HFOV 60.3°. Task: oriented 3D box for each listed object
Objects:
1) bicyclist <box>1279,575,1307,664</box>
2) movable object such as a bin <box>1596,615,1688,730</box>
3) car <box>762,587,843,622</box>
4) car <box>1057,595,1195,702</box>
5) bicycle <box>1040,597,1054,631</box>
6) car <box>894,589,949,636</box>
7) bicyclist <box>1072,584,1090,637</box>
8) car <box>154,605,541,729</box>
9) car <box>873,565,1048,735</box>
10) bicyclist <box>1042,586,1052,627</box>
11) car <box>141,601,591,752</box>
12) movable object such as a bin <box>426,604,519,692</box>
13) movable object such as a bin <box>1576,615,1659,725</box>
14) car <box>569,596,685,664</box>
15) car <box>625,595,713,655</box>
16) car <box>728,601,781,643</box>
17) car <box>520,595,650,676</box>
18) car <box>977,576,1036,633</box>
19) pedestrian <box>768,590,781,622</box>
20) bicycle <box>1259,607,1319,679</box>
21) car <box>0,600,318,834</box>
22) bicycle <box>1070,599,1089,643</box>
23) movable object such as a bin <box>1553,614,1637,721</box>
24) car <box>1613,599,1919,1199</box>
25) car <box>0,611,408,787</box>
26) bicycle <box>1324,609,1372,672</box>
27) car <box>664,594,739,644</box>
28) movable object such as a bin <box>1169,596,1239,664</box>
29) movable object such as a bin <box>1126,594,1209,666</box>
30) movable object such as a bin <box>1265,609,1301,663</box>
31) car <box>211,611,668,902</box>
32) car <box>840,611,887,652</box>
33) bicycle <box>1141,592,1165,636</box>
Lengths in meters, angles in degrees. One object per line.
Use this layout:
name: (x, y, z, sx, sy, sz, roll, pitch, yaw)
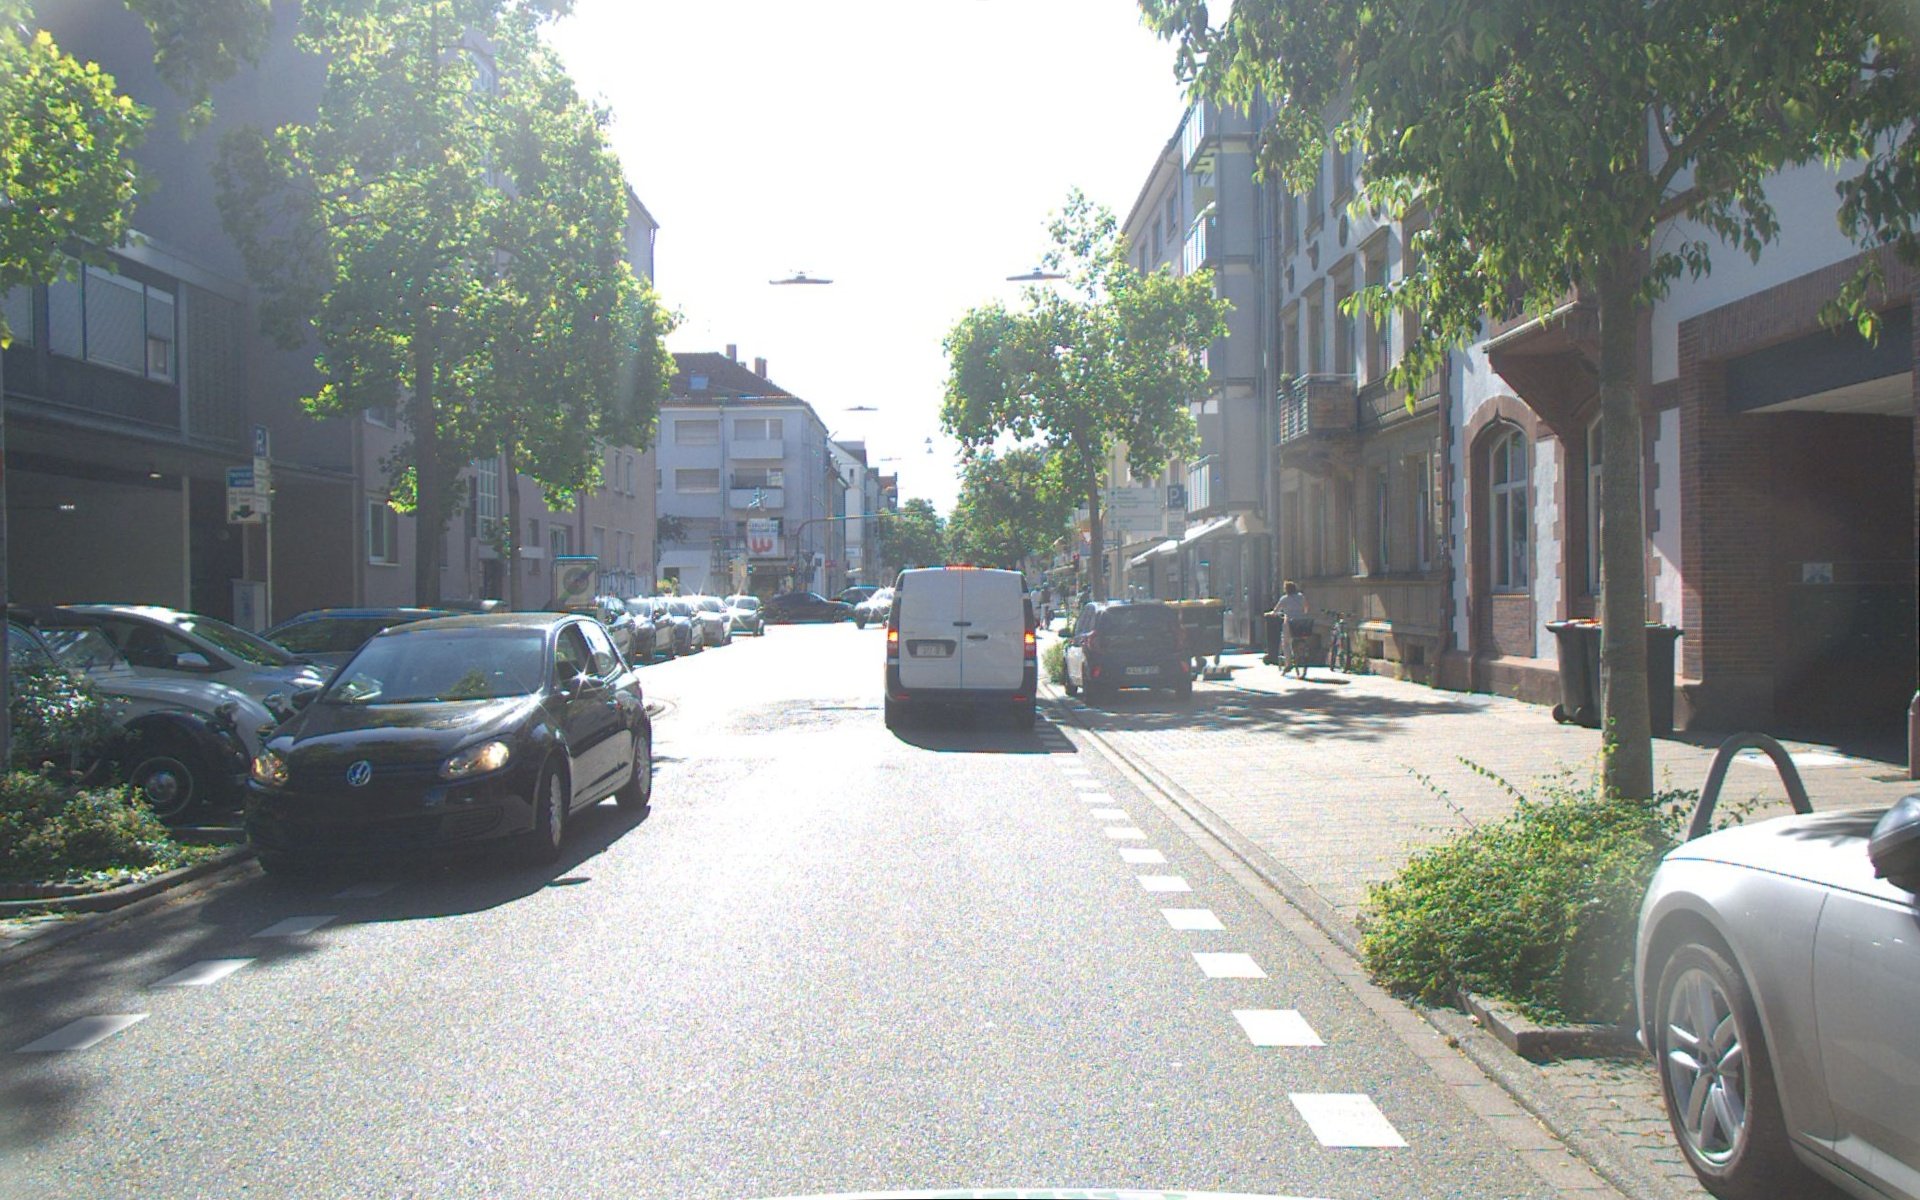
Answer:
bicyclist: (5.665, 0.334, 28.150, 0.353, 1.503, 0.530, 0, 0, -1)
movable object such as a bin: (6.708, 0.702, 16.287, 0.625, 1.087, 0.639, -1, 0, -1)
car: (-7.706, 0.211, 81.221, 3.908, 1.668, 1.998, -1, 0, -4)
car: (2.491, 0.691, 25.496, 1.603, 1.501, 3.578, -1, 0, -2)
bicycle: (3.446, 0.544, 65.669, 0.408, 1.333, 1.334, 0, 0, -3)
car: (-1.344, 0.400, 57.260, 1.807, 1.534, 3.999, -1, 0, -2)
bicyclist: (3.564, 0.316, 48.719, 0.430, 1.535, 0.496, 2, 0, -1)
car: (-7.580, 0.809, 20.731, 4.217, 1.458, 1.644, 0, 0, -1)
car: (-0.113, 0.560, 21.496, 1.883, 1.947, 4.883, 0, 0, -5)
bicyclist: (3.457, 0.265, 65.712, 0.348, 1.603, 0.481, 1, 0, -4)
car: (-6.337, 0.790, 17.955, 4.216, 1.485, 1.762, 1, 0, 1)
movable object such as a bin: (-8.457, 0.827, 28.730, 1.204, 1.475, 1.077, -1, 0, 7)
movable object such as a bin: (6.691, 0.703, 16.849, 0.625, 1.087, 0.521, -1, 0, -1)
car: (-8.309, 0.717, 41.673, 1.952, 1.523, 4.228, 2, 0, 1)
car: (-8.159, 0.662, 46.759, 1.686, 1.523, 4.625, 2, 0, -1)
car: (-7.844, 0.812, 63.326, 1.620, 1.505, 3.999, 1, 0, -2)
car: (-8.105, 0.726, 36.130, 1.838, 1.634, 4.364, 1, 0, 0)
car: (1.628, 0.136, 59.277, 1.779, 1.955, 4.642, -1, 0, -2)
pedestrian: (-9.994, 0.305, 89.144, 0.670, 1.692, 0.601, -1, 0, -2)
bicycle: (5.651, 0.722, 28.468, 0.525, 1.169, 2.123, -2, 0, -1)
car: (-6.771, 0.791, 12.035, 3.524, 1.579, 1.684, 0, 0, 0)
bicycle: (3.526, 0.616, 48.877, 0.465, 1.296, 1.218, 0, 0, -1)
movable object such as a bin: (6.686, 0.700, 17.443, 0.625, 1.087, 0.632, -1, 0, -1)
car: (2.746, 0.749, 2.521, 1.703, 1.477, 4.306, -1, 0, -1)
car: (-7.320, 0.861, 15.193, 3.908, 1.489, 1.811, 0, 0, -4)
bicycle: (6.874, 0.708, 29.370, 0.424, 1.048, 1.427, -4, 0, -1)
car: (-8.243, 0.569, 53.095, 1.741, 1.495, 4.758, 2, 0, -1)
movable object such as a bin: (5.078, 0.602, 34.380, 1.021, 1.371, 1.104, 0, 0, 38)
movable object such as a bin: (4.152, 0.591, 33.137, 1.261, 1.371, 1.091, -1, 0, -43)
movable object such as a bin: (6.462, 0.709, 33.097, 0.586, 1.060, 0.546, -1, 0, -2)
car: (-3.123, 0.846, 10.803, 1.727, 1.463, 3.960, -2, 0, -1)
car: (-4.089, 1.319, 70.719, 1.829, 1.642, 4.426, -1, 0, -1)
bicycle: (5.948, 0.421, 51.034, 0.465, 1.296, 1.218, -4, 0, -1)
